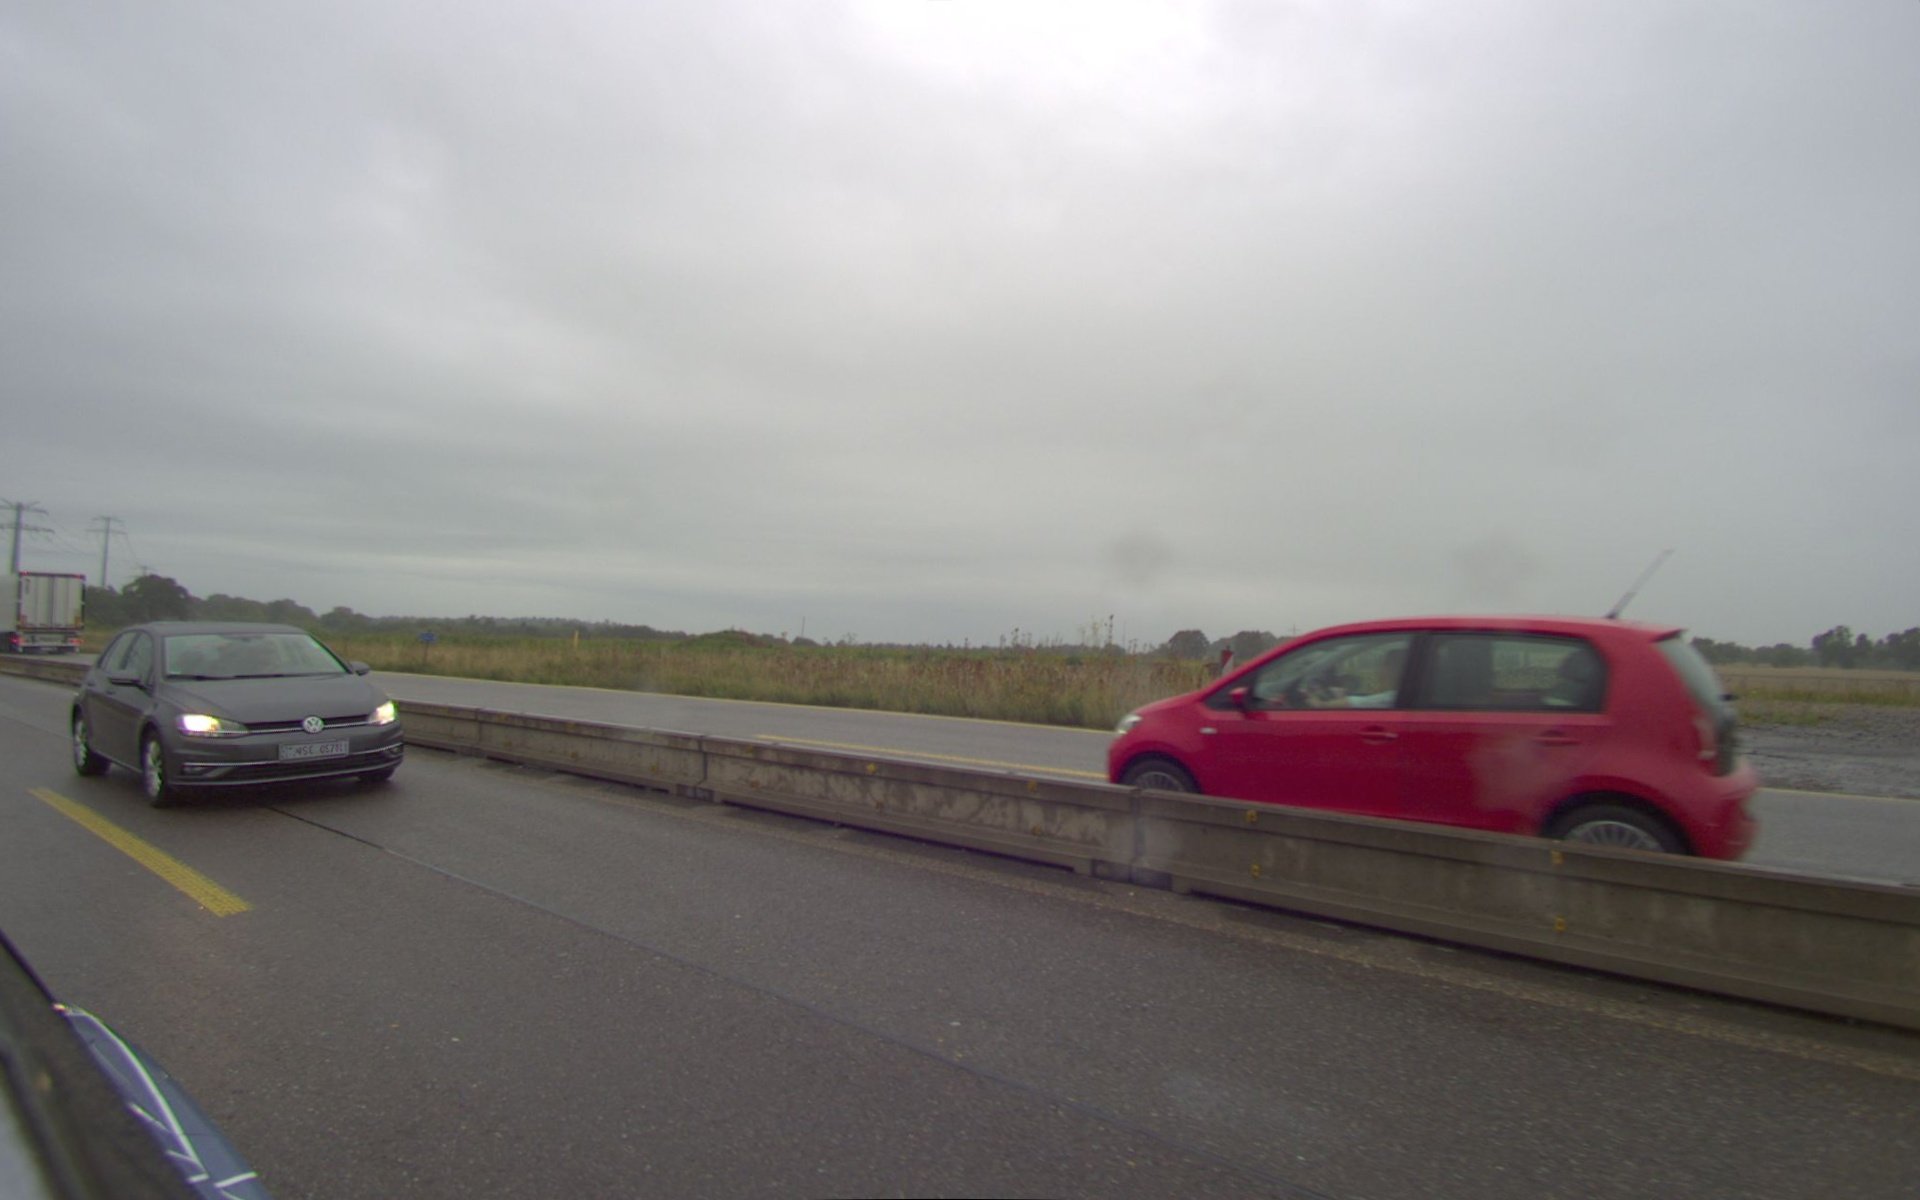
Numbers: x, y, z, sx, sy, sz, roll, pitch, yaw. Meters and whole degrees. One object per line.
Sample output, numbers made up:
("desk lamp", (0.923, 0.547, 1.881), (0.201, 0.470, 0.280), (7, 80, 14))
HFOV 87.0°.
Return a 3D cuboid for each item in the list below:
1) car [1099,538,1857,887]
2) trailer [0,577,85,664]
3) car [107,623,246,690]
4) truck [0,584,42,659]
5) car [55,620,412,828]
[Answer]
("car", (2.774, 0.472, 5.885), (3.590, 1.407, 1.621), (-1, 0, 41))
("trailer", (-50.510, 1.152, 54.533), (13.659, 4.232, 2.759), (-1, -2, 39))
("car", (-19.534, 1.332, 25.150), (4.694, 1.454, 1.807), (-1, -1, 40))
("truck", (-55.962, 1.267, 58.987), (5.901, 4.213, 2.759), (-1, -2, 39))
("car", (-6.659, 0.914, 9.118), (4.077, 1.433, 1.633), (-1, -1, 40))
